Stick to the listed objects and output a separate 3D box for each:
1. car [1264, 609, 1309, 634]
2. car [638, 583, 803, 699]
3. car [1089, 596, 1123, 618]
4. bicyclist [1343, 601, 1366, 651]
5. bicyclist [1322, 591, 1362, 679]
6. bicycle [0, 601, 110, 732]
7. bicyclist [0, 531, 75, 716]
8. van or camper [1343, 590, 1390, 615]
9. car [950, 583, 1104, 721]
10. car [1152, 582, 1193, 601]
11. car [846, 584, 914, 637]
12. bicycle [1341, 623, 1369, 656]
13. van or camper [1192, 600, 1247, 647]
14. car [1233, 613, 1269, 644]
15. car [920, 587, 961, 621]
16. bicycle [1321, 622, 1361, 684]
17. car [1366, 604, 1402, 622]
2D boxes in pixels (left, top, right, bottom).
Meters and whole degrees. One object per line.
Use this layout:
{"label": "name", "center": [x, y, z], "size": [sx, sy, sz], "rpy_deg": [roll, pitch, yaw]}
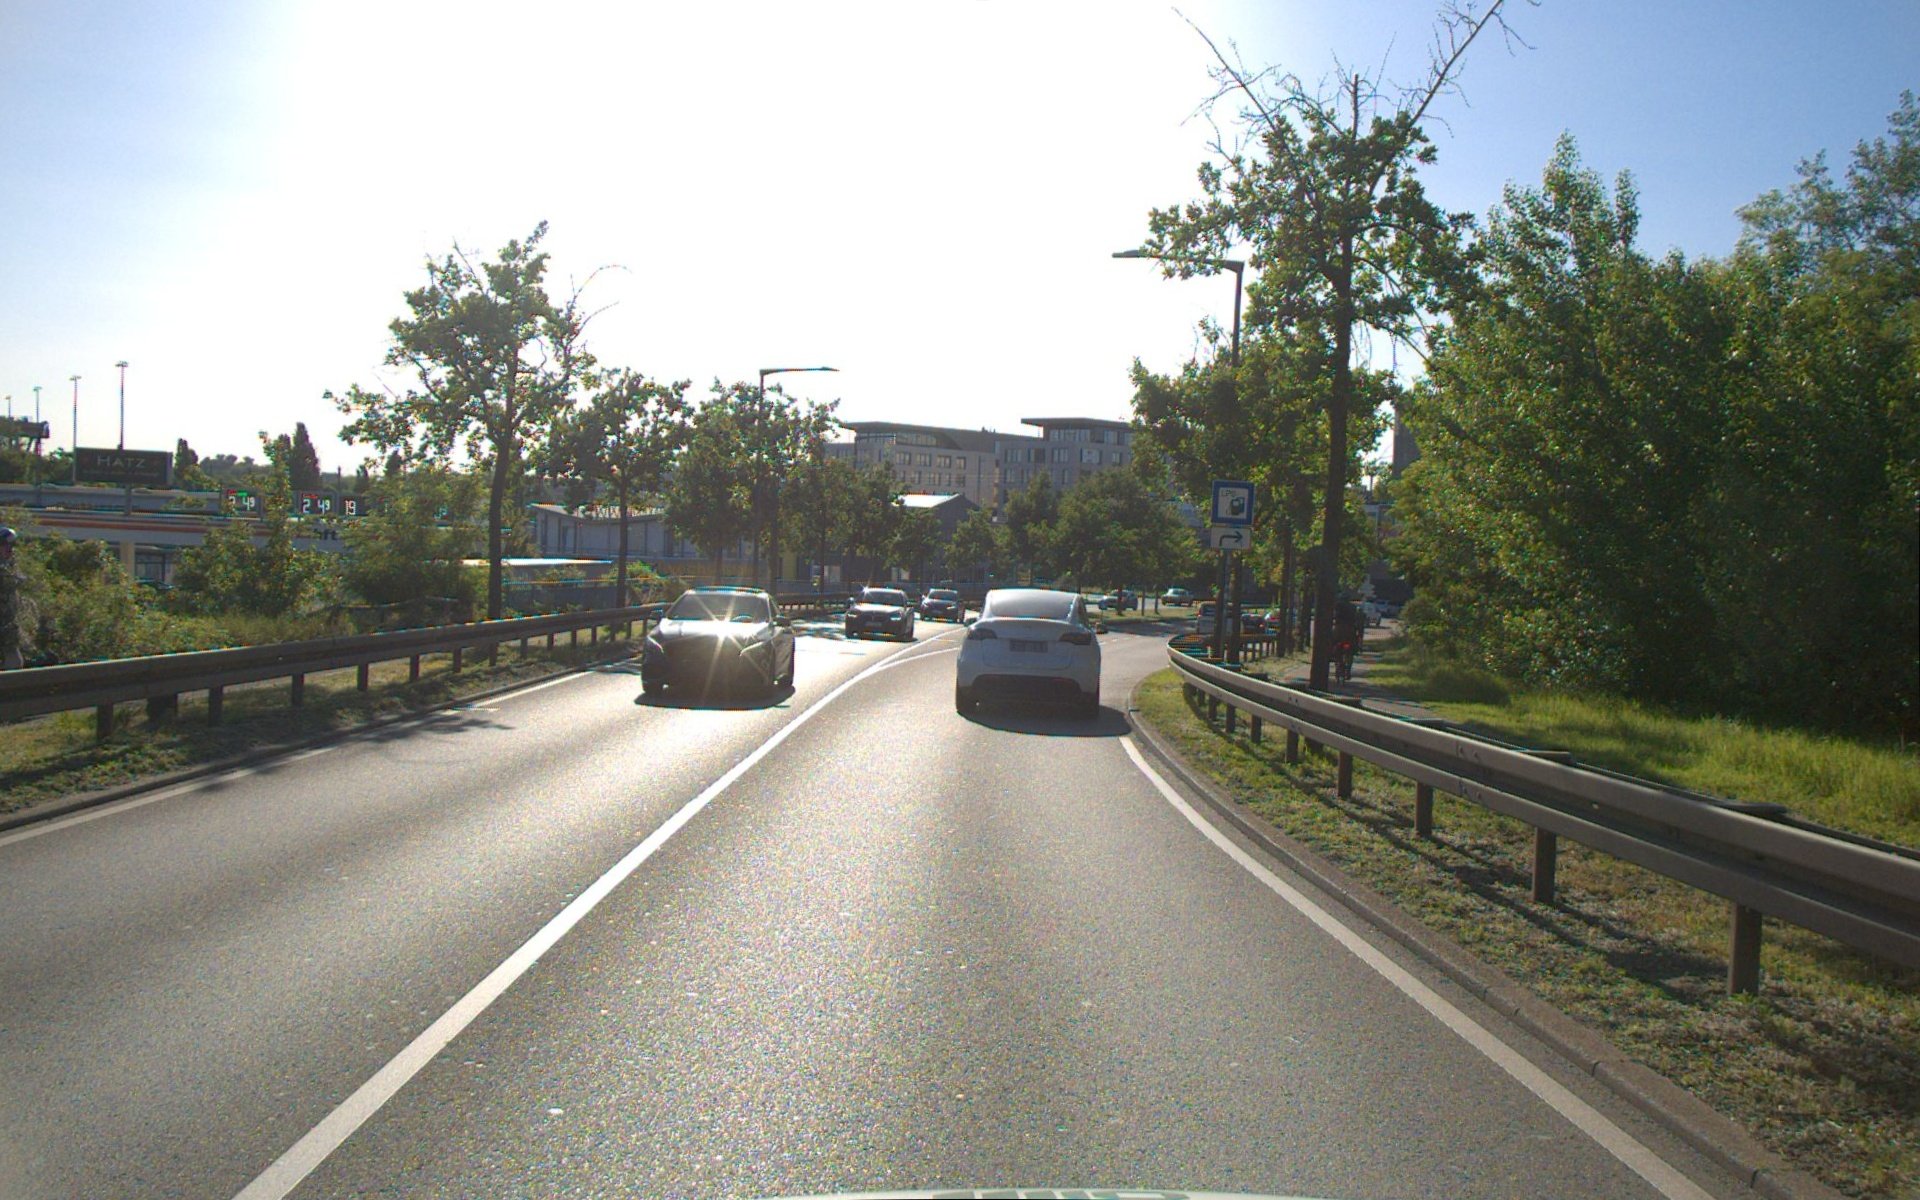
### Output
{"label": "car", "center": [22.451, 1.472, 113.748], "size": [1.731, 1.500, 4.281], "rpy_deg": [4, 2, 29]}
{"label": "car", "center": [-3.306, 0.507, 23.545], "size": [1.656, 1.466, 4.217], "rpy_deg": [1, 0, 1]}
{"label": "car", "center": [11.335, 0.544, 128.083], "size": [1.725, 1.514, 4.279], "rpy_deg": [4, 1, 16]}
{"label": "bicyclist", "center": [14.445, 0.937, 60.516], "size": [0.661, 1.807, 0.948], "rpy_deg": [1, 0, 22]}
{"label": "bicyclist", "center": [7.130, 0.640, 30.895], "size": [0.692, 1.606, 1.005], "rpy_deg": [1, 0, 13]}
{"label": "bicycle", "center": [-8.695, 0.581, 15.233], "size": [0.647, 1.114, 2.108], "rpy_deg": [1, 0, -1]}
{"label": "bicyclist", "center": [-8.688, 0.200, 15.173], "size": [0.638, 1.651, 0.874], "rpy_deg": [1, 0, -1]}
{"label": "van or camper", "center": [32.723, 0.194, 133.192], "size": [1.798, 1.821, 4.521], "rpy_deg": [5, 3, 40]}
{"label": "car", "center": [1.020, 0.626, 22.747], "size": [1.873, 1.669, 4.413], "rpy_deg": [1, 0, 5]}
{"label": "car", "center": [18.949, -0.785, 147.493], "size": [1.701, 1.409, 4.480], "rpy_deg": [5, 1, 35]}
{"label": "car", "center": [-2.441, 0.294, 51.413], "size": [1.772, 1.522, 4.370], "rpy_deg": [1, 0, 1]}
{"label": "bicycle", "center": [14.487, 1.432, 60.627], "size": [0.681, 1.114, 2.117], "rpy_deg": [1, 0, 22]}
{"label": "van or camper", "center": [11.337, 0.991, 72.060], "size": [1.917, 1.916, 4.884], "rpy_deg": [1, 0, 14]}
{"label": "car", "center": [16.493, 1.595, 93.561], "size": [1.571, 1.459, 3.682], "rpy_deg": [4, 3, 15]}
{"label": "car", "center": [-0.902, 0.179, 77.067], "size": [1.630, 1.470, 3.851], "rpy_deg": [2, 0, 3]}
{"label": "bicycle", "center": [7.079, 0.971, 30.704], "size": [0.686, 1.093, 1.922], "rpy_deg": [1, -1, 13]}
{"label": "car", "center": [39.483, 1.193, 153.883], "size": [1.684, 1.548, 3.720], "rpy_deg": [5, 3, 42]}
